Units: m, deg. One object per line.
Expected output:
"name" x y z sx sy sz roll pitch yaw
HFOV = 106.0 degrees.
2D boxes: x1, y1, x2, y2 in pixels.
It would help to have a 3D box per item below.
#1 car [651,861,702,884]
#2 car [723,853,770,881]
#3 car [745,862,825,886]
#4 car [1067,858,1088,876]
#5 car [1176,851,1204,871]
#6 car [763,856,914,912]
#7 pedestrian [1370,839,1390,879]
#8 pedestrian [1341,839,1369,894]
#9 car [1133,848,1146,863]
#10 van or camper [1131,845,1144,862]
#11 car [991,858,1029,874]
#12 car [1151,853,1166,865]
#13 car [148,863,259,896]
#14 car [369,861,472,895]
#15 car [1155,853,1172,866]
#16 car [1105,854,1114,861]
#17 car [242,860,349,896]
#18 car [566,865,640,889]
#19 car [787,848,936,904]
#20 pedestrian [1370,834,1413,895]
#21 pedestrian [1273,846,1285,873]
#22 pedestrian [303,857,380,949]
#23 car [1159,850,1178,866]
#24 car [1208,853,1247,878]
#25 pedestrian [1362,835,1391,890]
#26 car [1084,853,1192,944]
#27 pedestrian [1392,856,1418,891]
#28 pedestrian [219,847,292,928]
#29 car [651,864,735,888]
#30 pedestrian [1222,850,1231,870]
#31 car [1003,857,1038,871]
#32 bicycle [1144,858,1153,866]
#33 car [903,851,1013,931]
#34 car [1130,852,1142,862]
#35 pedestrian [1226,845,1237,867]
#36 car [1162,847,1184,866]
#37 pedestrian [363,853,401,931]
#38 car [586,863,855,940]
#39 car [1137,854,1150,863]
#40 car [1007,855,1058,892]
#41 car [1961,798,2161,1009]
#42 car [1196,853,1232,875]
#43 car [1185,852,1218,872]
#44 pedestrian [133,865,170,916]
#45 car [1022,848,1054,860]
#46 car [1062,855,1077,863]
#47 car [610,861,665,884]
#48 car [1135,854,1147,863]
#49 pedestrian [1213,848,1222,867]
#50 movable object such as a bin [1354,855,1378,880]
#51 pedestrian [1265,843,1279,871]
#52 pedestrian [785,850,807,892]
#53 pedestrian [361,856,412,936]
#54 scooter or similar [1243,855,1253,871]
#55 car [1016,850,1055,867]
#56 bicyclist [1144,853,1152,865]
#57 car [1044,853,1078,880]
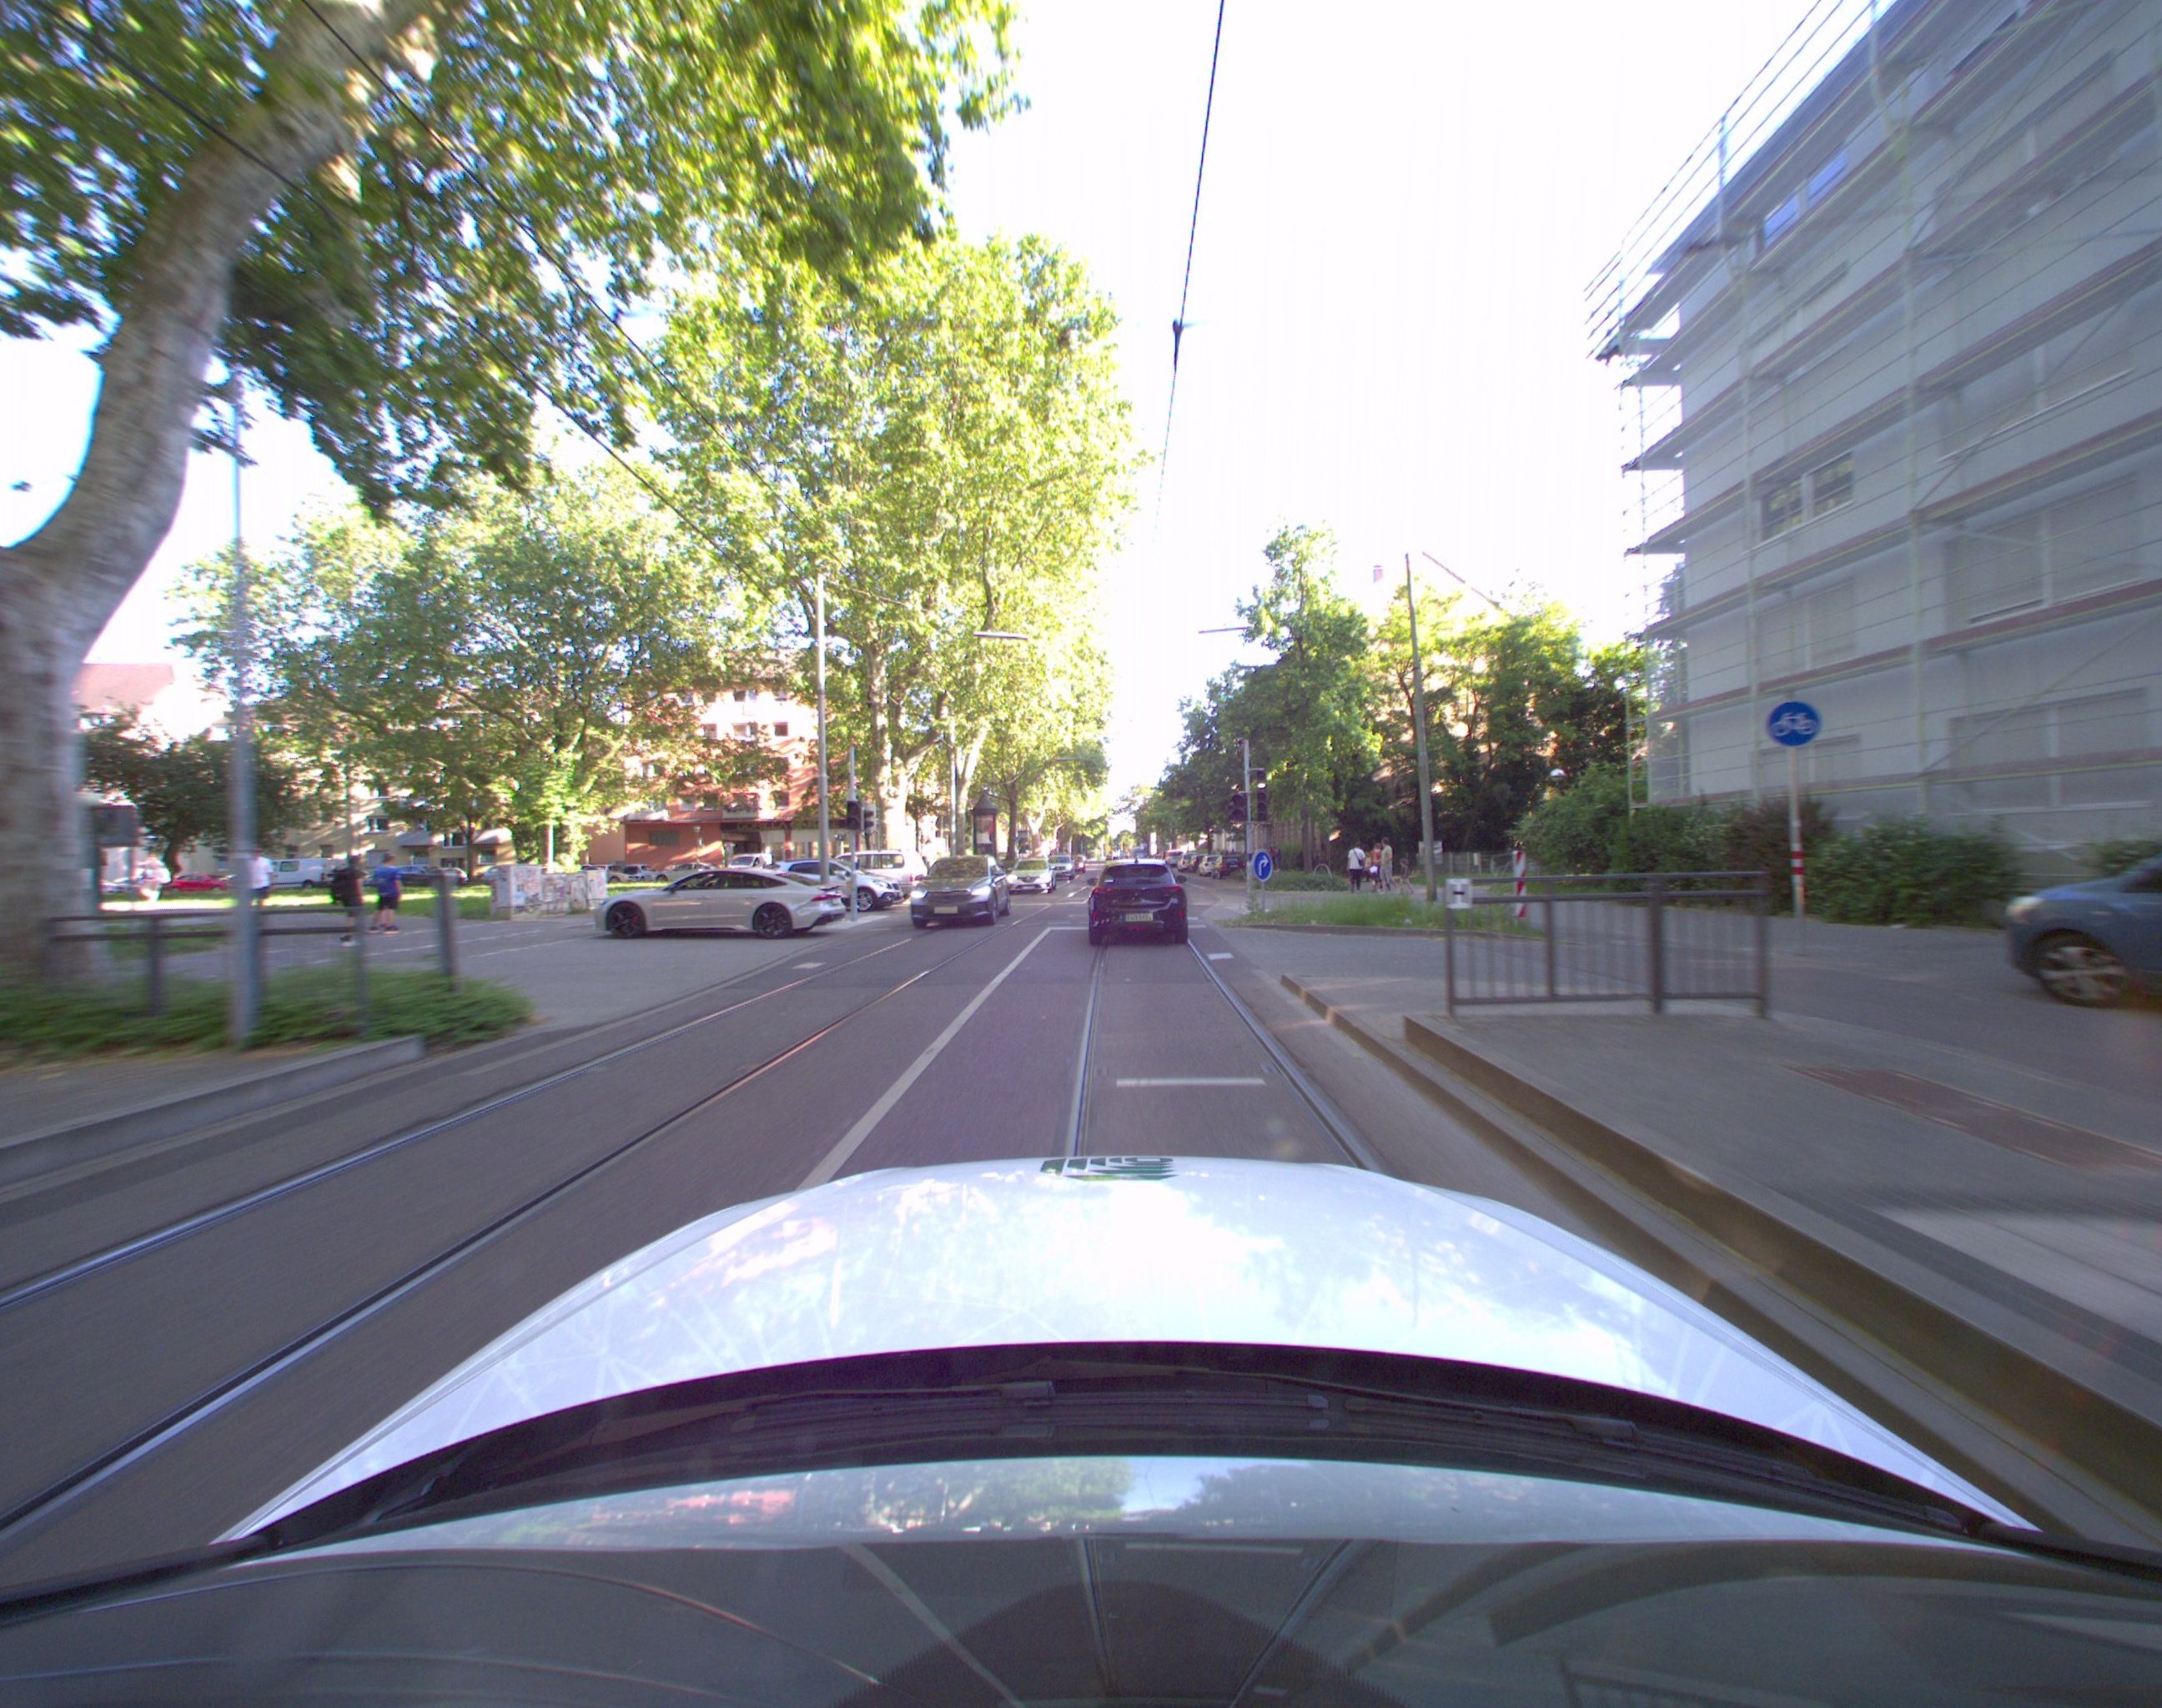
"car" -29.987 1.329 60.488 1.942 1.618 4.474 0 0 -6
"car" -24.503 0.936 59.892 1.992 2.003 4.907 0 0 -8
"car" -19.253 1.309 53.095 4.519 1.489 1.857 0 0 -5
"car" -0.278 1.103 69.057 1.654 1.444 3.475 0 0 2
"car" 9.476 0.627 71.043 1.877 1.568 4.243 -4 0 1
"car" -7.510 0.902 25.499 4.126 1.646 1.902 0 0 0
"pedestrian" 13.162 0.218 35.898 0.618 1.725 0.551 0 -1 -14
"pedestrian" 9.294 0.409 27.637 0.721 1.793 0.856 -3 0 12
"car" 11.026 0.226 153.862 2.077 2.772 4.699 -2 0 1
"van or camper" 11.162 -0.014 160.430 2.246 3.216 5.532 -2 0 1
"car" -6.790 1.139 77.828 3.405 1.465 1.698 0 0 3
"car" 10.539 0.706 110.554 1.696 1.423 3.979 -5 0 1
"car" -55.536 1.594 51.606 4.717 2.014 1.998 0 -1 -2
"car" -41.655 1.498 51.471 4.720 2.014 1.997 0 -1 -4
"car" 10.294 0.693 101.768 1.706 1.514 4.036 -3 0 0
"car" 8.126 1.040 230.882 2.248 1.840 5.527 -2 0 -1
"car" -49.868 1.518 51.767 4.717 2.197 2.042 0 -1 -2
"car" -30.553 1.455 52.108 3.700 1.450 1.686 0 0 -4
"car" -7.421 0.733 27.901 4.556 1.834 1.938 0 0 -1
"pedestrian" 9.915 0.332 26.049 0.869 1.885 0.992 0 -1 -17
"pedestrian" 12.848 0.359 52.824 0.597 1.793 0.728 0 -1 -1
"pedestrian" -13.761 0.888 15.170 0.707 1.673 0.779 0 -1 1
"car" 10.255 0.430 95.664 1.879 1.766 4.679 -2 0 1
"car" 9.001 0.688 50.297 1.667 1.412 3.842 -4 0 0
"pedestrian" 10.011 0.277 27.628 0.721 1.793 0.971 -3 0 12
"car" 0.985 0.739 15.244 1.757 1.460 3.951 0 0 2
"pedestrian" 10.455 0.627 26.327 0.669 1.118 0.662 -1 -1 12
"pedestrian" -18.371 0.732 18.130 0.835 1.737 0.921 -1 -1 27
"car" -24.892 1.372 52.385 4.463 1.450 1.819 0 0 -7
"pedestrian" 12.634 0.494 70.751 0.722 1.709 0.857 0 -1 5
"car" -6.307 1.060 85.312 3.405 1.465 1.761 0 0 3
"bicycle" 8.437 0.999 102.266 0.965 0.999 2.582 0 0 0
"car" -2.817 0.809 19.606 1.902 1.638 4.320 -2 0 0
"car" 11.265 0.641 167.624 2.246 1.840 5.532 -3 0 1
"pedestrian" 12.264 0.150 66.330 0.724 1.793 0.600 0 -1 -1
"car" 9.767 0.252 86.713 1.877 1.851 4.968 -4 0 1
"pedestrian" -15.681 0.842 18.282 0.535 1.705 0.586 0 -1 -30
"car" -7.417 0.953 17.164 4.753 1.460 1.953 0 0 -3
"car" 10.419 0.780 136.359 1.877 1.434 4.531 -4 0 1
"car" -2.000 0.786 34.753 1.768 1.461 4.206 0 0 2
"car" 9.169 0.351 5.488 1.755 1.621 4.445 -3 0 3
"car" 9.249 0.679 56.927 1.877 1.368 4.108 -4 0 1
"car" 9.754 0.646 66.295 1.878 1.467 4.593 -4 0 0
"pedestrian" -31.036 1.196 27.192 0.769 1.673 0.716 -1 -1 35
"car" -5.802 0.017 110.810 4.287 1.607 1.925 -1 0 -2
"car" -3.135 1.407 229.052 3.965 2.014 2.004 -1 -1 7
"car" -32.675 1.302 60.157 1.942 1.618 4.474 0 0 -6
"car" 10.806 0.852 146.654 1.797 1.434 4.001 -3 -1 1
"pedestrian" 11.852 0.312 70.679 0.722 1.693 0.958 -1 -1 6
"movable object such as a bin" 12.928 0.603 36.935 0.664 1.126 0.955 0 -1 -6
"pedestrian" 12.556 0.202 53.603 0.593 1.793 0.733 -1 -1 40
"pedestrian" -12.461 0.758 35.621 0.640 1.809 0.753 -1 -1 7
"pedestrian" -14.877 0.887 17.454 0.698 1.659 0.558 0 -1 -25
"scooter or similar" 12.957 0.714 63.132 0.573 1.246 1.336 0 0 3
"car" -5.966 0.599 107.700 5.020 2.259 2.084 0 0 -2
"bicyclist" 8.427 0.579 102.246 0.955 1.499 1.094 0 -1 0
"car" -1.196 0.755 51.085 1.809 1.568 4.118 -3 0 2
